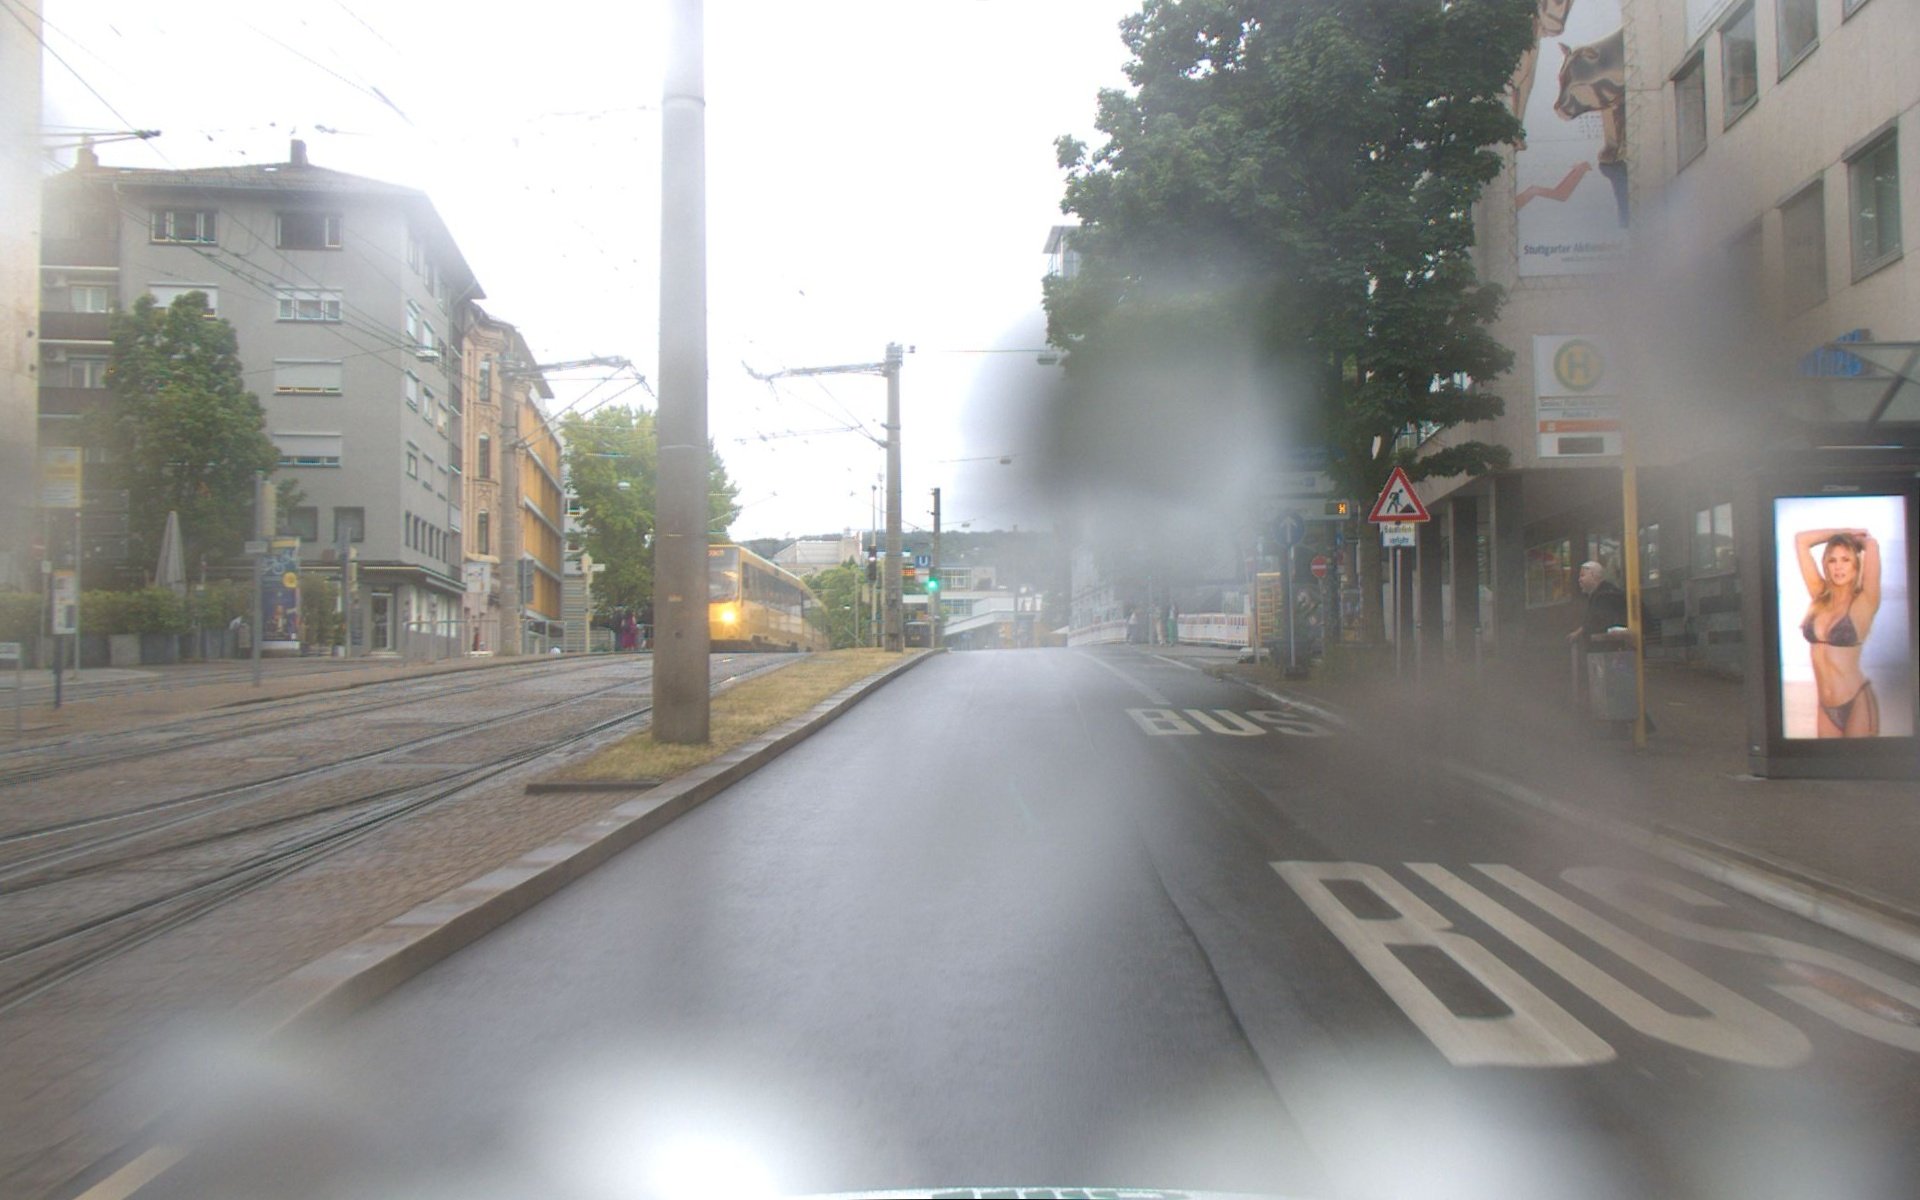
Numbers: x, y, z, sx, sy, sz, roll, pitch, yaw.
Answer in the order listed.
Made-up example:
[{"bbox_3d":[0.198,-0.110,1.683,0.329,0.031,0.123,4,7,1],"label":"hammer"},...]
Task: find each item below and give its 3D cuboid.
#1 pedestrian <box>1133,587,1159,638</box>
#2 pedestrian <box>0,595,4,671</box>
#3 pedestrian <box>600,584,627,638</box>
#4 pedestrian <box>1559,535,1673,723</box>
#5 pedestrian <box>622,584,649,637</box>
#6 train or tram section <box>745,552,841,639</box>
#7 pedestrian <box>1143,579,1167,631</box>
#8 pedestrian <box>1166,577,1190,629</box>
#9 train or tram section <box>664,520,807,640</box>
[{"bbox_3d":[6.536,0.433,58.131,0.722,1.760,1.118,-1,0,-1],"label":"pedestrian"},{"bbox_3d":[-20.260,0.696,34.051,0.663,1.575,0.776,-2,0,1],"label":"pedestrian"},{"bbox_3d":[-12.031,0.377,57.463,0.717,1.822,0.696,-2,0,0],"label":"pedestrian"},{"bbox_3d":[5.979,0.258,15.123,0.651,1.654,0.968,-1,0,1],"label":"pedestrian"},{"bbox_3d":[-11.249,0.357,57.364,0.717,1.822,0.696,-2,0,0],"label":"pedestrian"},{"bbox_3d":[-7.904,0.033,81.087,2.690,3.762,18.968,-1,-1,0],"label":"train or tram section"},{"bbox_3d":[6.995,0.186,59.441,0.685,1.847,0.976,-1,0,-1],"label":"pedestrian"},{"bbox_3d":[7.765,0.101,58.942,0.685,1.816,1.066,-1,0,-1],"label":"pedestrian"},{"bbox_3d":[-8.024,-0.418,62.078,2.690,3.762,18.968,-1,-1,0],"label":"train or tram section"}]
